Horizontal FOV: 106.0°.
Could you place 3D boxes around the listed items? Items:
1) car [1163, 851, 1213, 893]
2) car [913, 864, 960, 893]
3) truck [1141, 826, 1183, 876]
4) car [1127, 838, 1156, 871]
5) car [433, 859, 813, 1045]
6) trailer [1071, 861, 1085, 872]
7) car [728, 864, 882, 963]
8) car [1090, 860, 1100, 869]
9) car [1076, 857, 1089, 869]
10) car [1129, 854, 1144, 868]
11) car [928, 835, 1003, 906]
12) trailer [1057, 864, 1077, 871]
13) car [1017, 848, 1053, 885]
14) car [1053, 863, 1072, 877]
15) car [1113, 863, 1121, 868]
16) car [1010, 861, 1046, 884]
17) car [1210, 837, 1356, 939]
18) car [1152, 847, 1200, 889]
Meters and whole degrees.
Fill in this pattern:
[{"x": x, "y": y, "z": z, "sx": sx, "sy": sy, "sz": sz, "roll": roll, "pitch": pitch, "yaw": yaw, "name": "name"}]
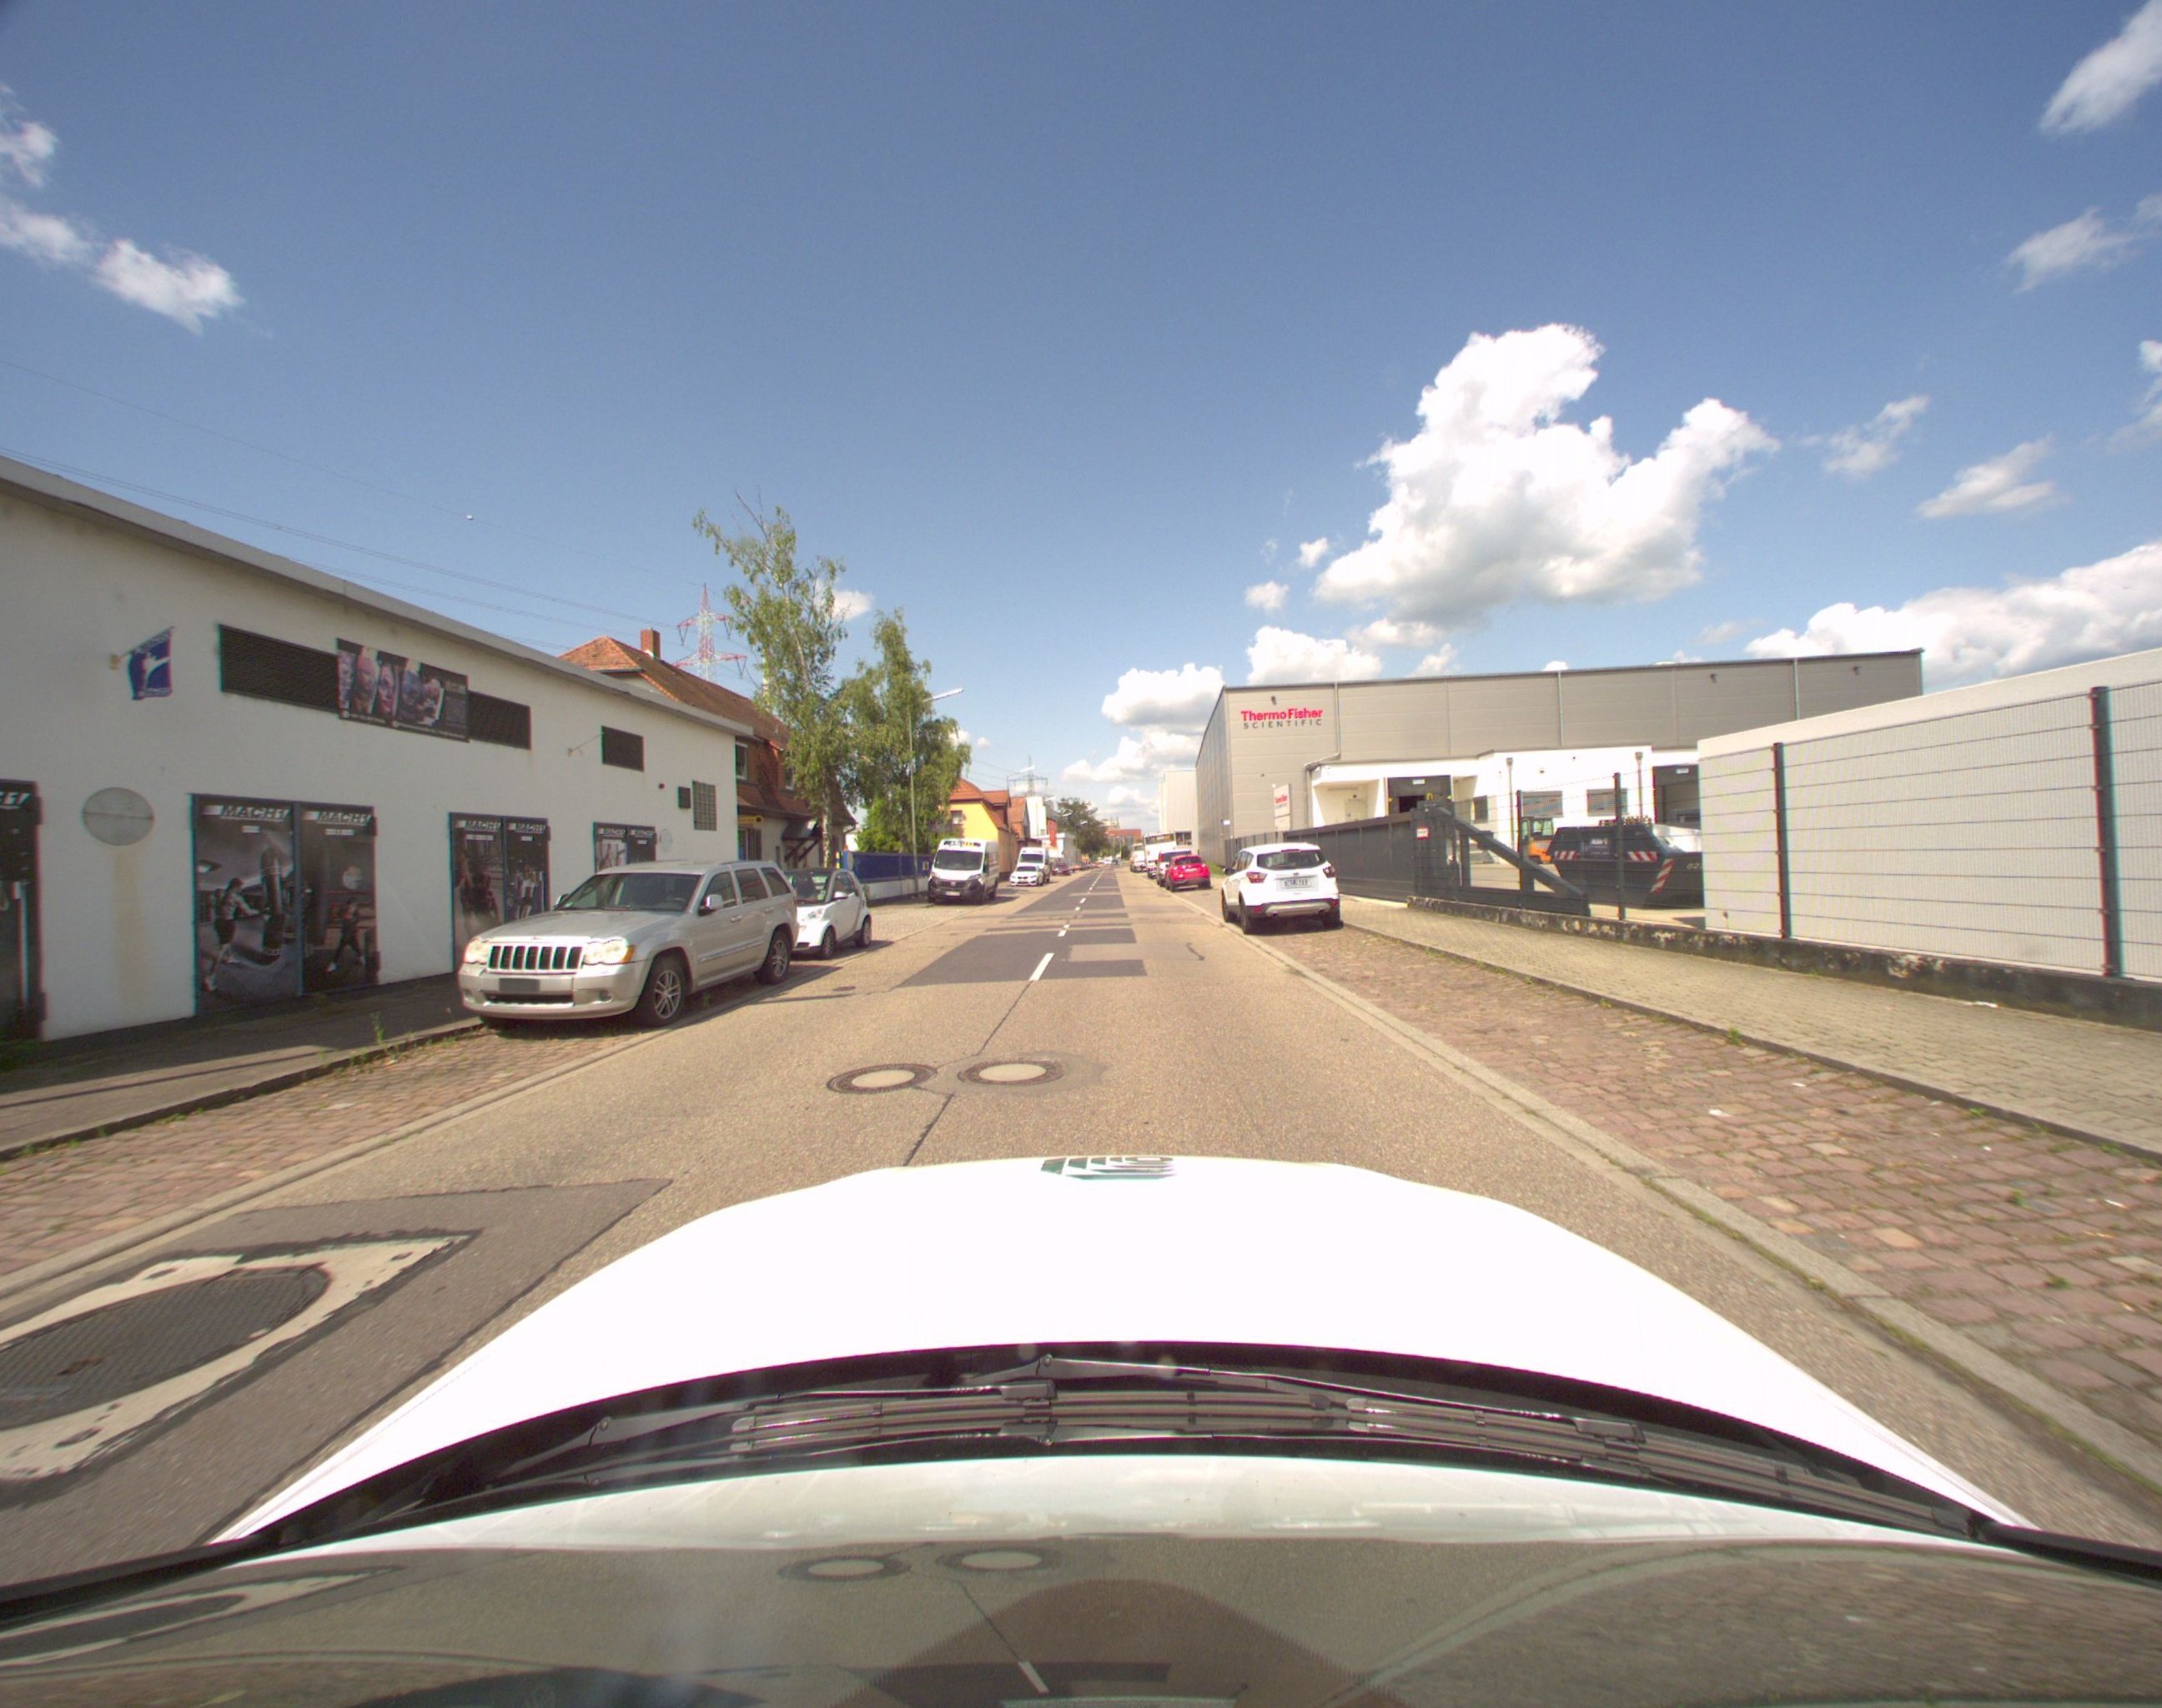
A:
[{"x": 4.771, "y": 0.787, "z": 36.751, "sx": 1.698, "sy": 1.624, "sz": 4.094, "roll": -6, "pitch": -1, "yaw": 1, "name": "car"}, {"x": -9.078, "y": 1.492, "z": 51.485, "sx": 1.857, "sy": 1.463, "sz": 4.148, "roll": -4, "pitch": 1, "yaw": 4, "name": "car"}, {"x": 6.002, "y": -0.188, "z": 61.195, "sx": 2.449, "sy": 3.293, "sz": 6.822, "roll": -7, "pitch": -1, "yaw": 3, "name": "truck"}, {"x": 6.772, "y": 0.129, "z": 92.211, "sx": 2.381, "sy": 3.362, "sz": 6.642, "roll": -5, "pitch": -1, "yaw": -1, "name": "car"}, {"x": -5.036, "y": 0.929, "z": 9.936, "sx": 1.784, "sy": 1.719, "sz": 4.753, "roll": 0, "pitch": 0, "yaw": 2, "name": "car"}, {"x": -0.425, "y": 2.014, "z": 131.095, "sx": 1.986, "sy": 1.556, "sz": 4.255, "roll": -2, "pitch": -1, "yaw": 2, "name": "trailer"}, {"x": -4.932, "y": 1.002, "z": 14.972, "sx": 1.602, "sy": 1.574, "sz": 3.012, "roll": 1, "pitch": 0, "yaw": 4, "name": "car"}, {"x": 2.943, "y": 2.213, "z": 170.066, "sx": 1.913, "sy": 1.794, "sz": 4.005, "roll": -1, "pitch": -1, "yaw": 5, "name": "car"}, {"x": 0.341, "y": 1.594, "z": 146.663, "sx": 1.984, "sy": 2.014, "sz": 4.005, "roll": -1, "pitch": -1, "yaw": 5, "name": "car"}, {"x": 7.153, "y": 0.898, "z": 104.812, "sx": 1.761, "sy": 1.612, "sz": 3.876, "roll": -3, "pitch": -1, "yaw": 3, "name": "car"}, {"x": -4.492, "y": 0.643, "z": 32.732, "sx": 2.023, "sy": 2.558, "sz": 6.656, "roll": 0, "pitch": -1, "yaw": 0, "name": "car"}, {"x": -1.864, "y": 1.838, "z": 110.094, "sx": 2.353, "sy": 0.893, "sz": 5.571, "roll": -1, "pitch": -1, "yaw": 2, "name": "trailer"}, {"x": -3.295, "y": 0.905, "z": 59.695, "sx": 2.019, "sy": 2.561, "sz": 6.841, "roll": -1, "pitch": -1, "yaw": 1, "name": "car"}, {"x": -2.075, "y": 1.754, "z": 91.195, "sx": 1.755, "sy": 1.447, "sz": 4.744, "roll": -1, "pitch": -1, "yaw": 3, "name": "car"}, {"x": 8.880, "y": 2.848, "z": 200.720, "sx": 1.911, "sy": 1.285, "sz": 3.616, "roll": -3, "pitch": -1, "yaw": 2, "name": "car"}, {"x": -3.362, "y": 1.171, "z": 52.464, "sx": 1.788, "sy": 1.397, "sz": 4.505, "roll": -1, "pitch": -1, "yaw": 3, "name": "car"}, {"x": 4.037, "y": 0.621, "z": 17.147, "sx": 1.928, "sy": 1.693, "sz": 4.682, "roll": -5, "pitch": 0, "yaw": 2, "name": "car"}, {"x": 5.015, "y": 0.715, "z": 43.543, "sx": 2.045, "sy": 1.903, "sz": 5.151, "roll": -6, "pitch": -1, "yaw": 3, "name": "car"}]
